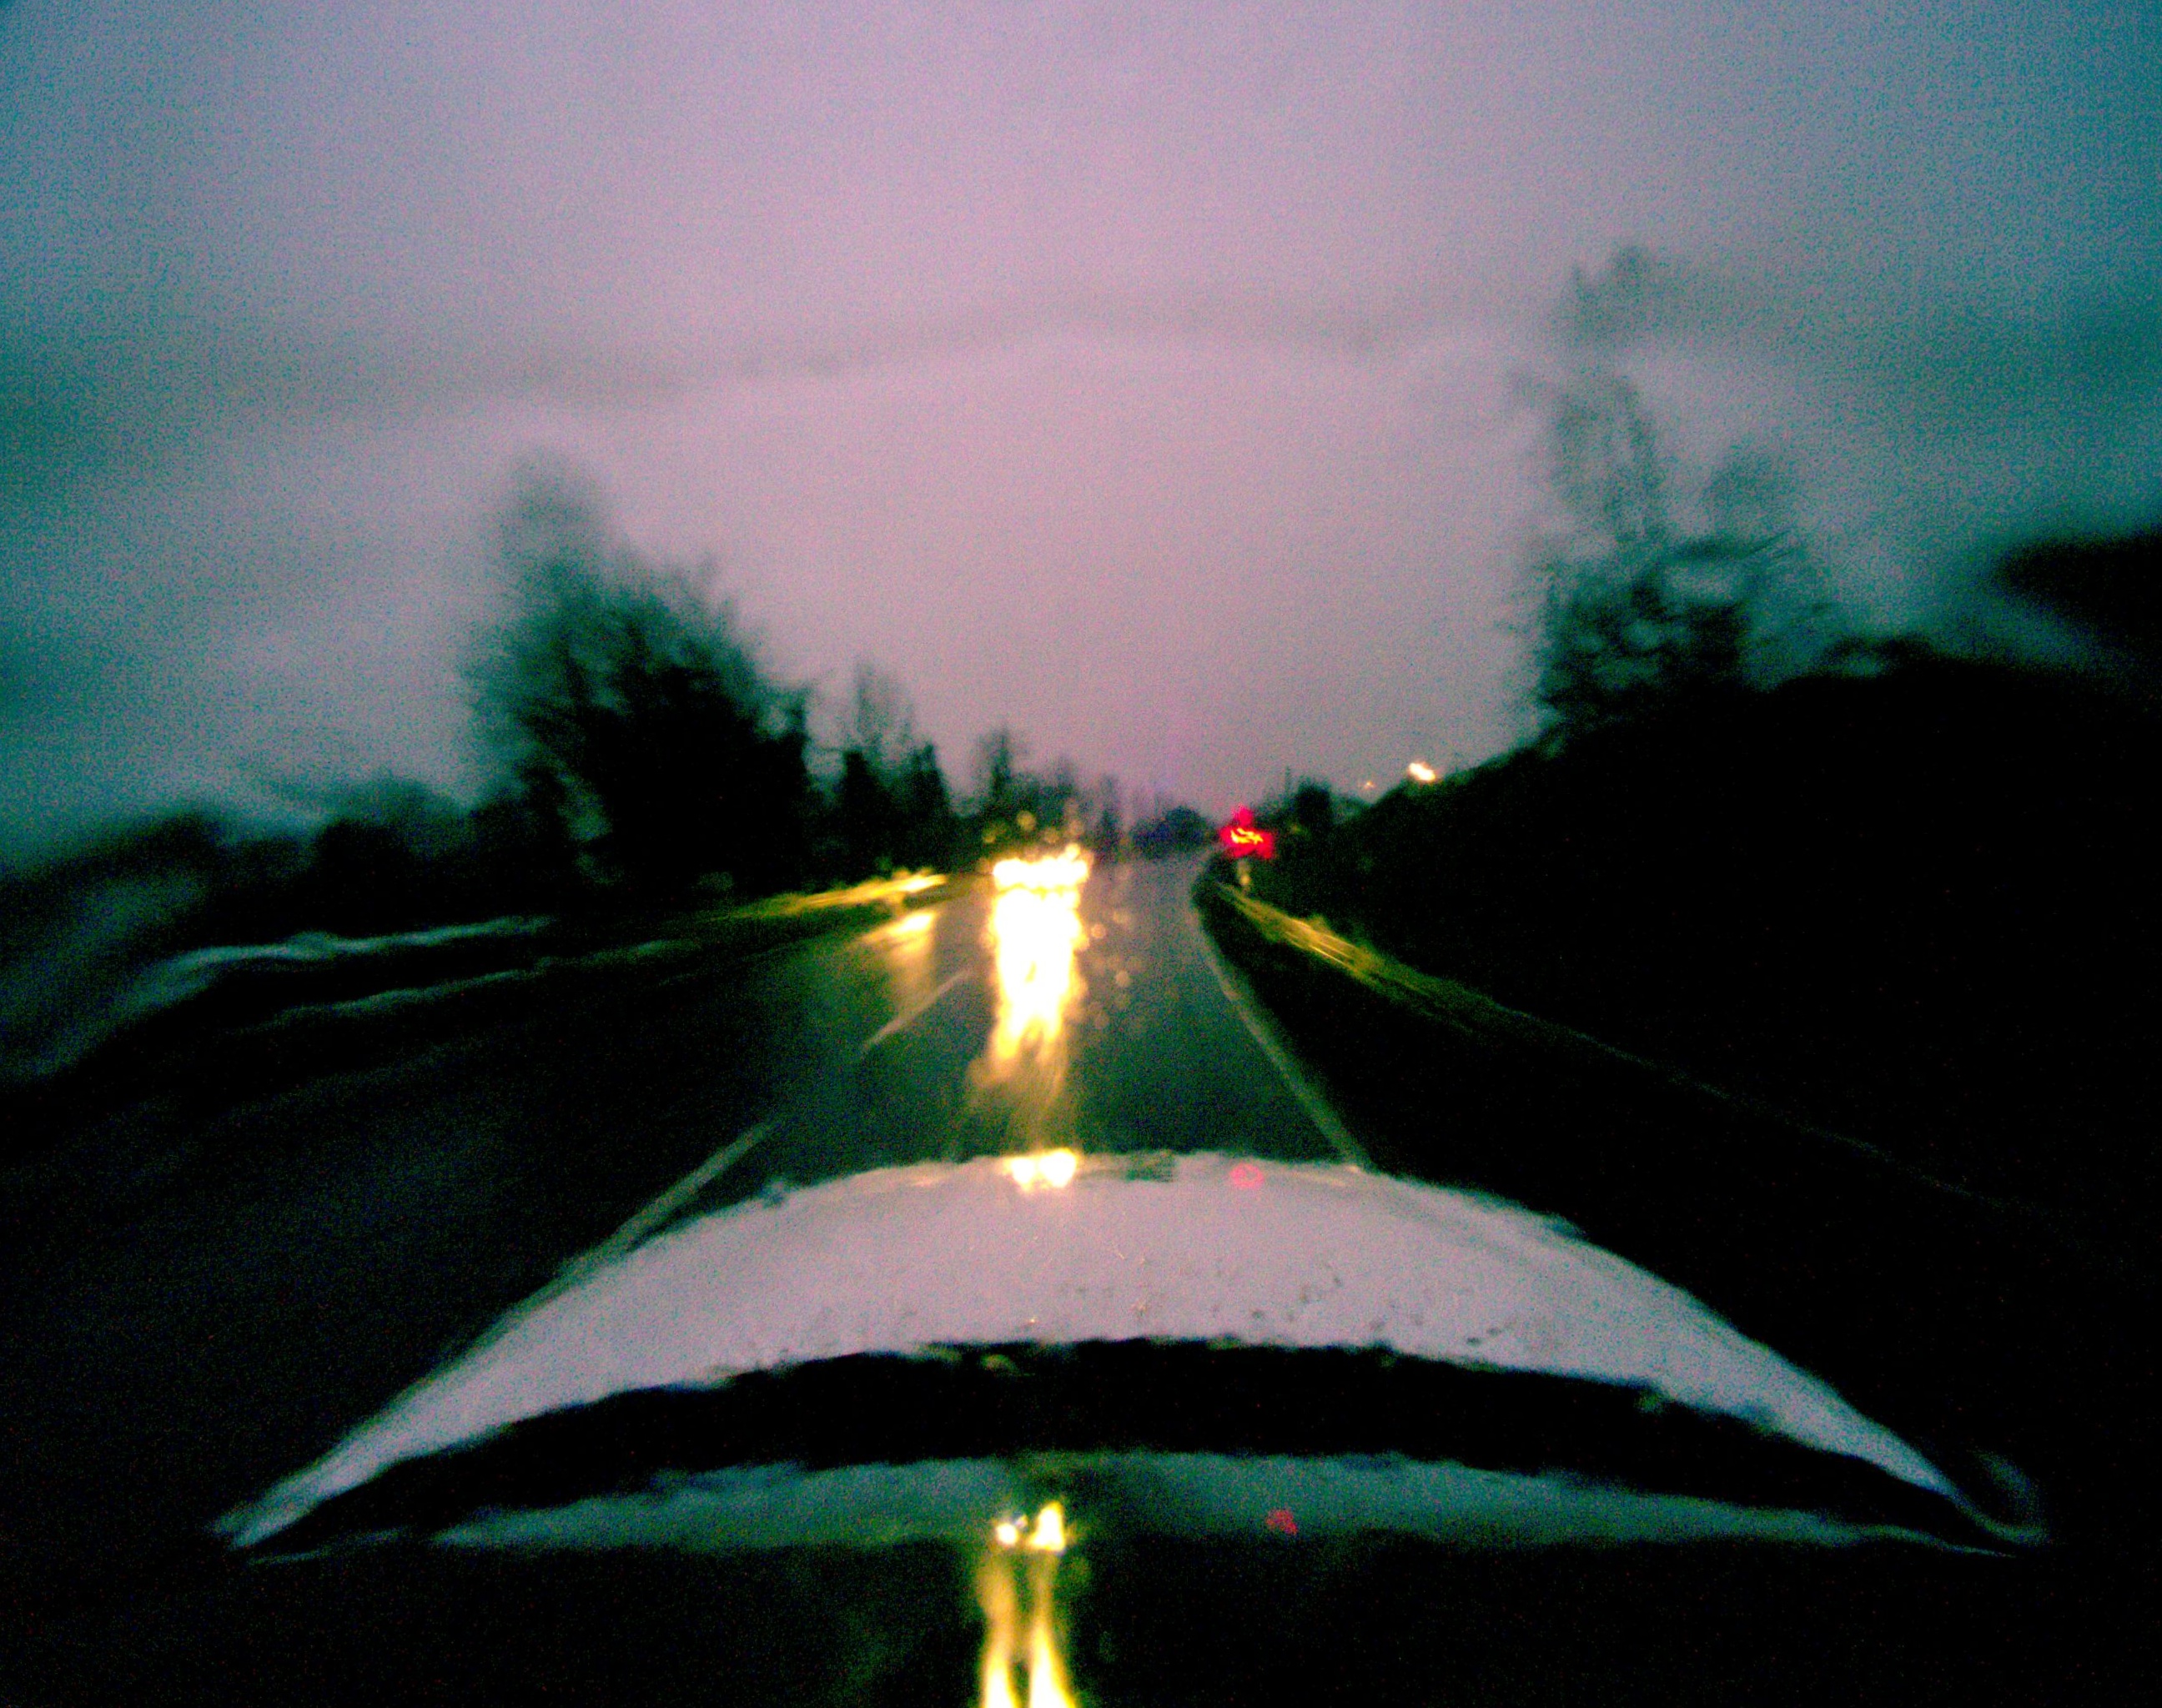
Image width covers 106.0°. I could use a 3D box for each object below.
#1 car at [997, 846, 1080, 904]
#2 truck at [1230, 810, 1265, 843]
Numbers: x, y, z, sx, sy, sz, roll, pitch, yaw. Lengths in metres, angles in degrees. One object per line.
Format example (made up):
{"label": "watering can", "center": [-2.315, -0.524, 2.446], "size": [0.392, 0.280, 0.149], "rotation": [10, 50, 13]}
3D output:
{"label": "car", "center": [-1.398, 0.663, 28.702], "size": [1.983, 1.621, 4.607], "rotation": [-6, 0, 7]}
{"label": "truck", "center": [16.630, -2.744, 80.997], "size": [2.512, 2.868, 5.950], "rotation": [-6, 0, 18]}
